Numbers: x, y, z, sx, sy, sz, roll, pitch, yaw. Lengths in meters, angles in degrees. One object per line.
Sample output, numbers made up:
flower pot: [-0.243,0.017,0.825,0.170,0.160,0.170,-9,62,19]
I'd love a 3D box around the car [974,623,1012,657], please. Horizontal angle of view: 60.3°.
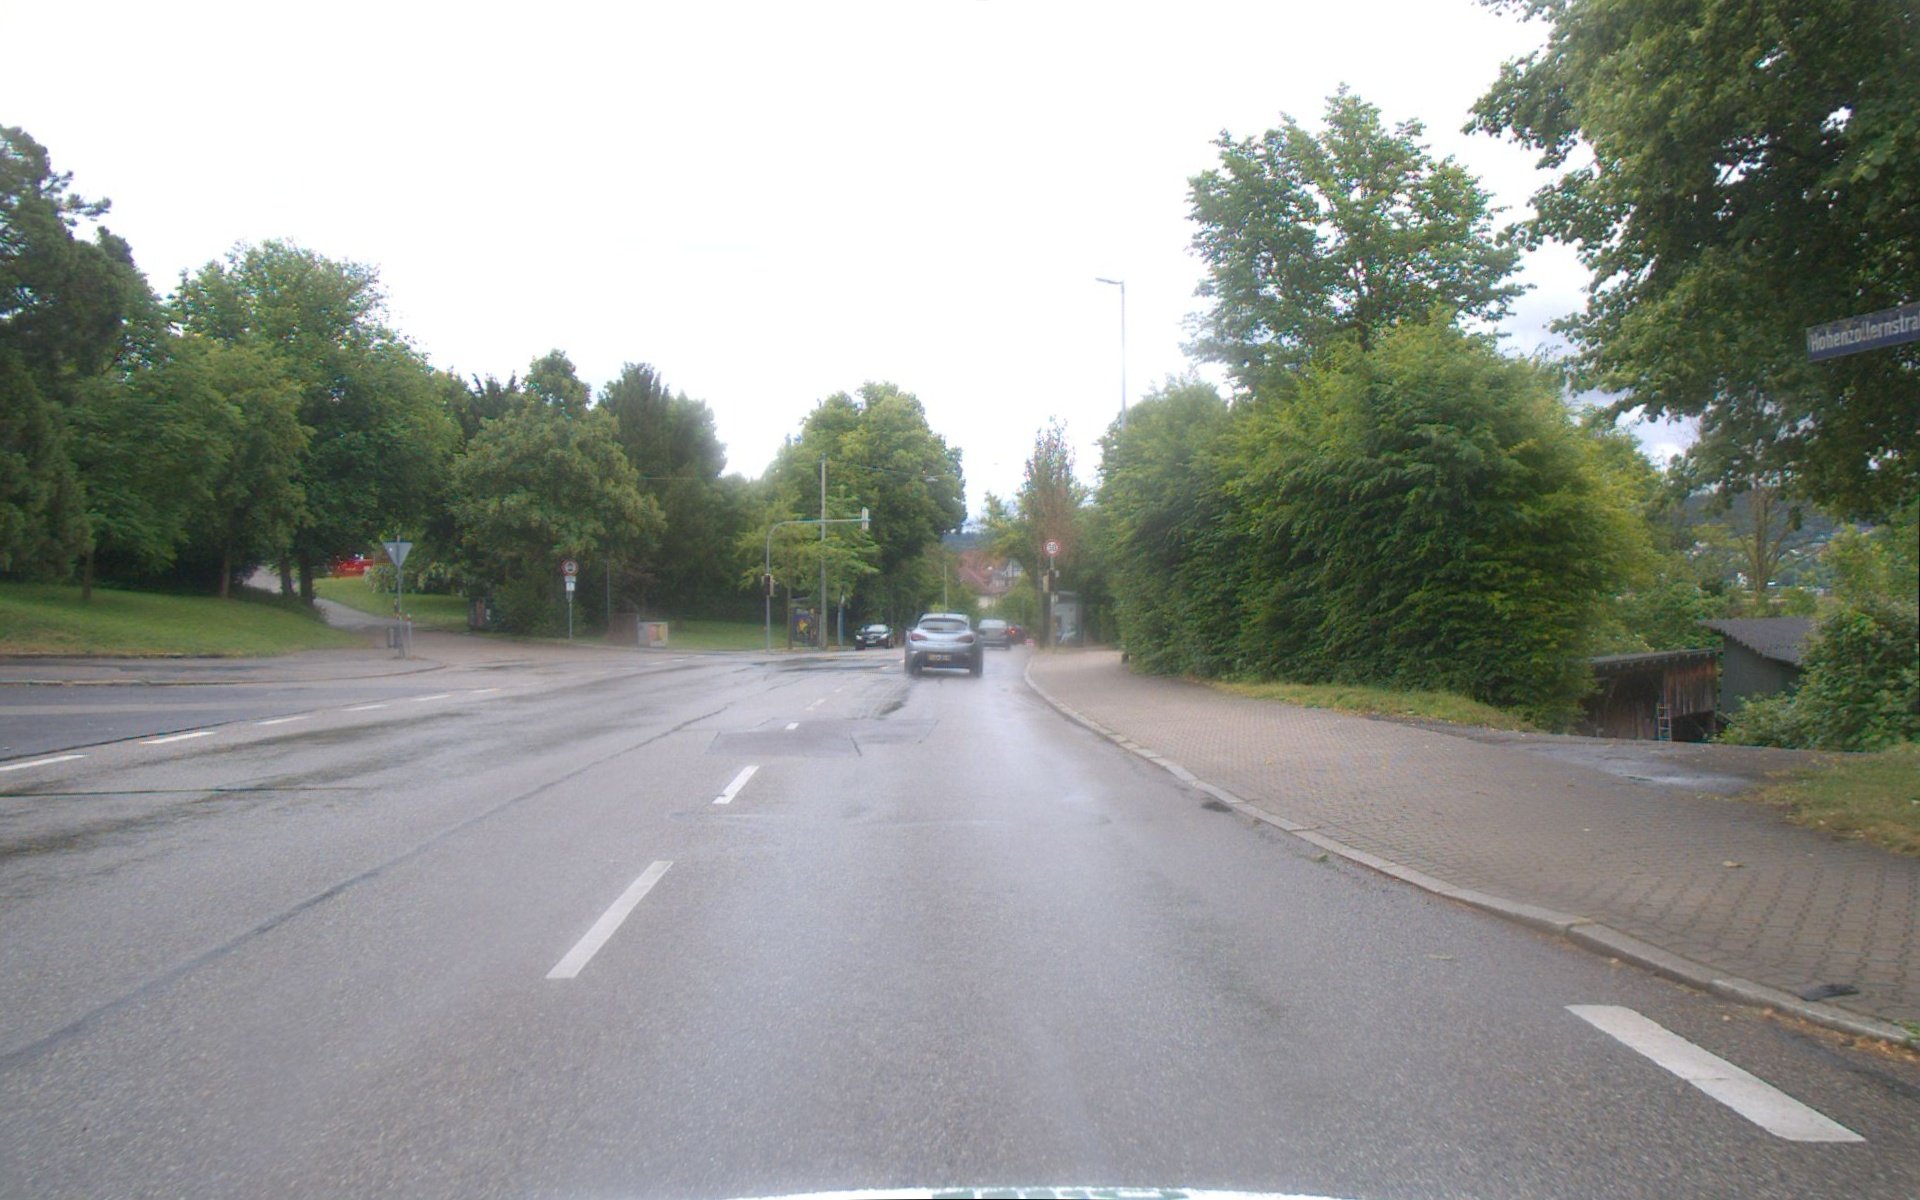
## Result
car: [1.583,1.874,79.077,1.686,1.489,4.001,3,-1,2]

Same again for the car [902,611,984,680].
car: [-0.365,1.078,40.419,1.718,1.489,4.001,2,0,3]

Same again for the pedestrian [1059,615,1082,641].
pedestrian: [5.795,1.461,86.624,1.050,1.379,0.919,-1,-1,10]

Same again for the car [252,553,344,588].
car: [-30.755,-1.373,76.930,3.838,1.512,1.924,1,-1,-20]

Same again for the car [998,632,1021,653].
car: [3.847,3.279,127.649,1.686,1.489,4.001,3,-1,2]

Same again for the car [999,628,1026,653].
car: [3.475,2.642,109.393,1.686,1.489,4.001,3,-1,2]

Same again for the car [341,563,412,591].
car: [-33.938,-1.333,96.221,3.838,1.512,1.924,1,-1,-20]

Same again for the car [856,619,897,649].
car: [-4.249,1.716,84.792,1.626,1.329,4.085,-2,1,3]

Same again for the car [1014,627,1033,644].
car: [6.192,3.457,161.805,1.686,1.489,4.001,3,-1,2]
